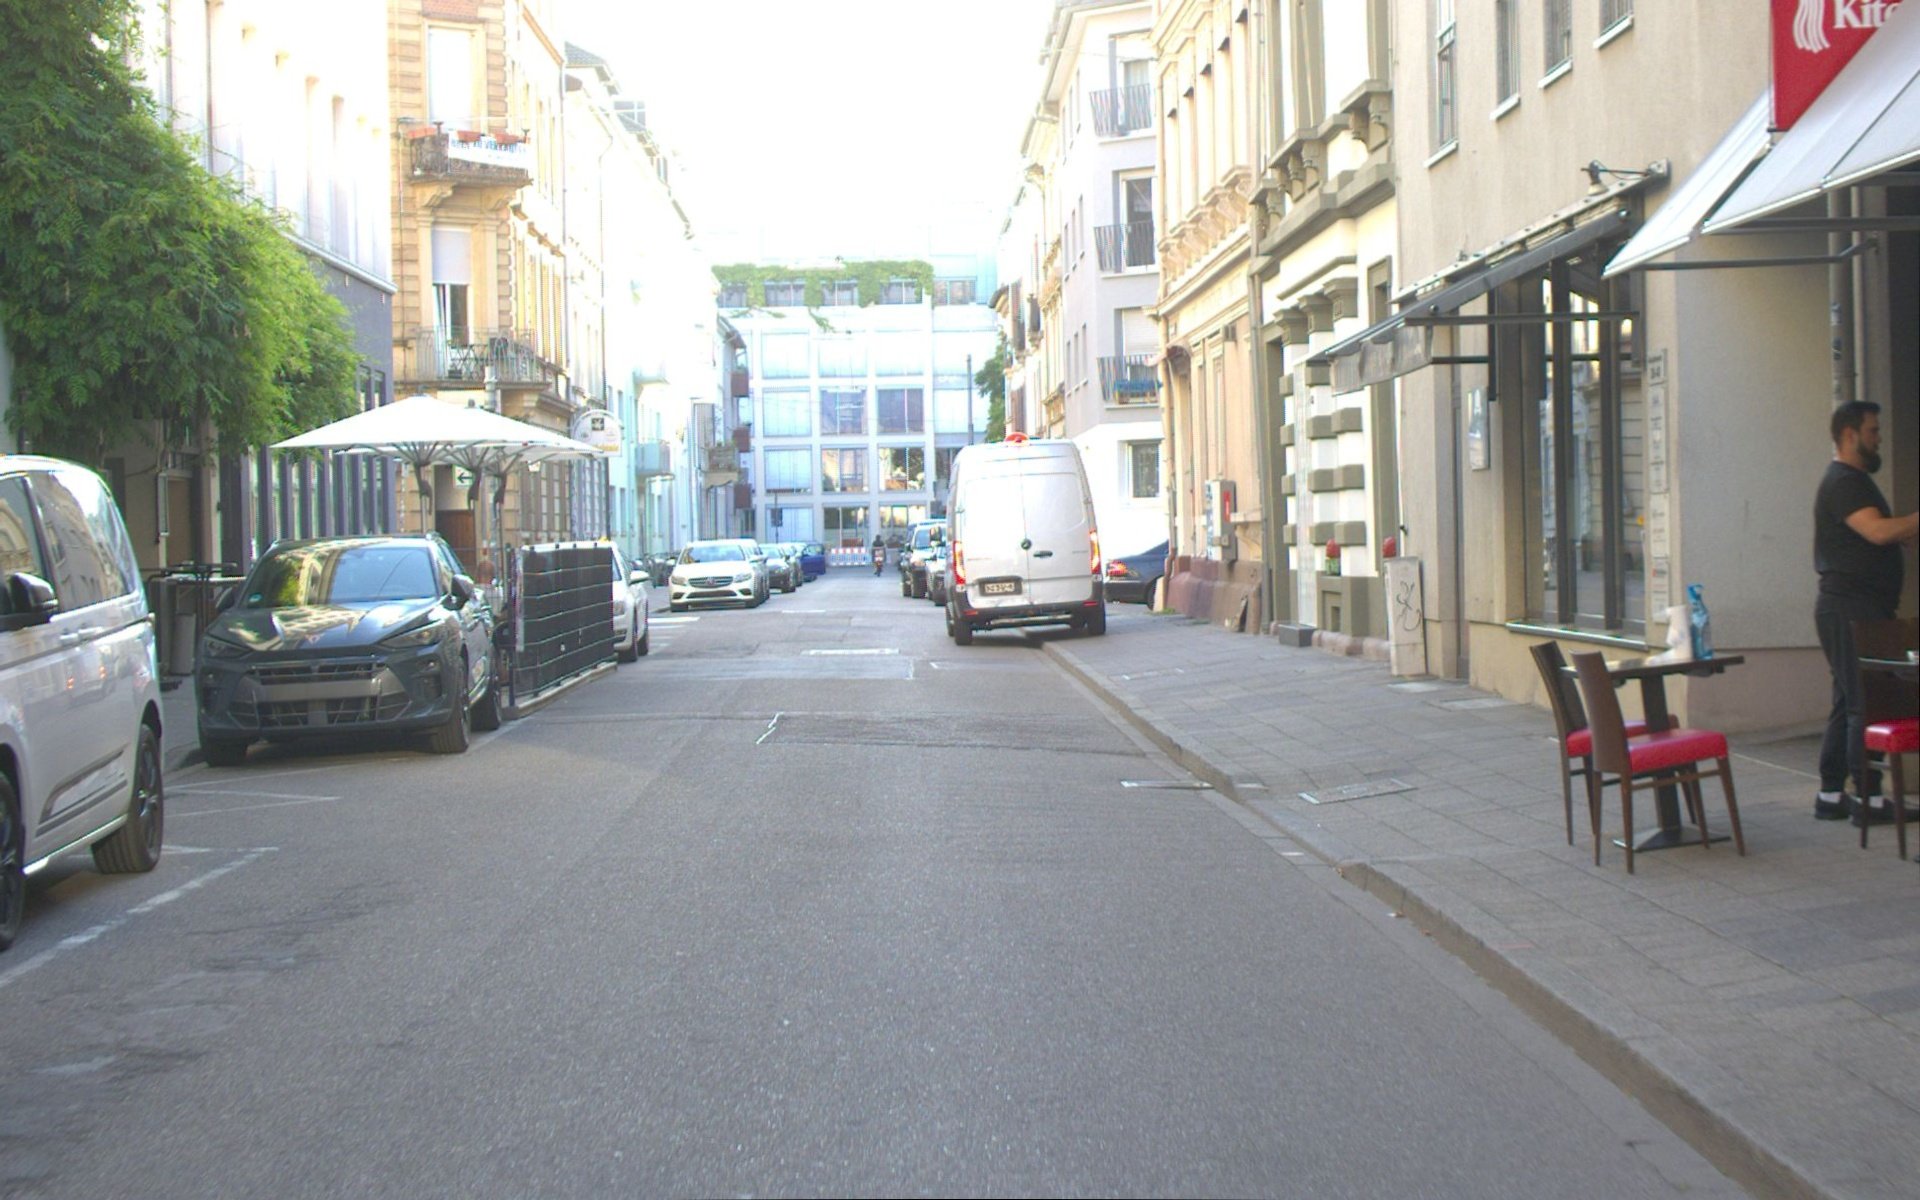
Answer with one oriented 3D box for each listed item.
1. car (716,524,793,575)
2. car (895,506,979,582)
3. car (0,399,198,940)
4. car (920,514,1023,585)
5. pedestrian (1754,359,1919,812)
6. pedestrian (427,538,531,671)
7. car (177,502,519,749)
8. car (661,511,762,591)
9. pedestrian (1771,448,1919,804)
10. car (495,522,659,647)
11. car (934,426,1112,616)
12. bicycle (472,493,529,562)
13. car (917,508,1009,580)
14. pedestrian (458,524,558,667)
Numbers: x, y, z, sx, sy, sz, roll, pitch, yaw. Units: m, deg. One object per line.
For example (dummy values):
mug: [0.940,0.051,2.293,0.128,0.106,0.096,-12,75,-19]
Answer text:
car: [-5.735,-1.438,96.327,1.993,1.350,4.429,-1,1,-2]
car: [-0.592,-1.373,83.814,1.893,1.778,4.001,-1,1,-2]
car: [-4.549,0.244,13.963,1.993,1.933,4.851,-3,1,-3]
car: [0.212,-1.083,72.414,1.938,1.367,3.789,-3,2,-2]
pedestrian: [3.749,-0.073,14.143,0.658,1.786,0.730,-4,1,-2]
pedestrian: [-4.303,0.036,30.758,0.553,1.161,0.740,-1,2,31]
car: [-4.461,0.114,25.737,1.881,1.563,4.772,-3,2,-3]
car: [-5.281,-1.075,73.444,1.993,1.559,4.507,-3,2,-3]
pedestrian: [3.991,0.096,14.750,0.825,1.481,0.661,-2,1,-2]
car: [-4.581,-0.210,41.540,1.657,1.409,3.883,-1,1,-2]
car: [0.815,-1.105,47.864,2.277,2.431,6.204,-1,1,0]
bicycle: [-6.200,-0.987,46.442,0.596,0.902,1.644,-1,1,-2]
car: [0.039,-1.291,78.480,1.963,1.551,3.889,-1,1,-2]
pedestrian: [-4.168,-0.051,31.747,0.781,1.282,0.915,-1,1,-1]
